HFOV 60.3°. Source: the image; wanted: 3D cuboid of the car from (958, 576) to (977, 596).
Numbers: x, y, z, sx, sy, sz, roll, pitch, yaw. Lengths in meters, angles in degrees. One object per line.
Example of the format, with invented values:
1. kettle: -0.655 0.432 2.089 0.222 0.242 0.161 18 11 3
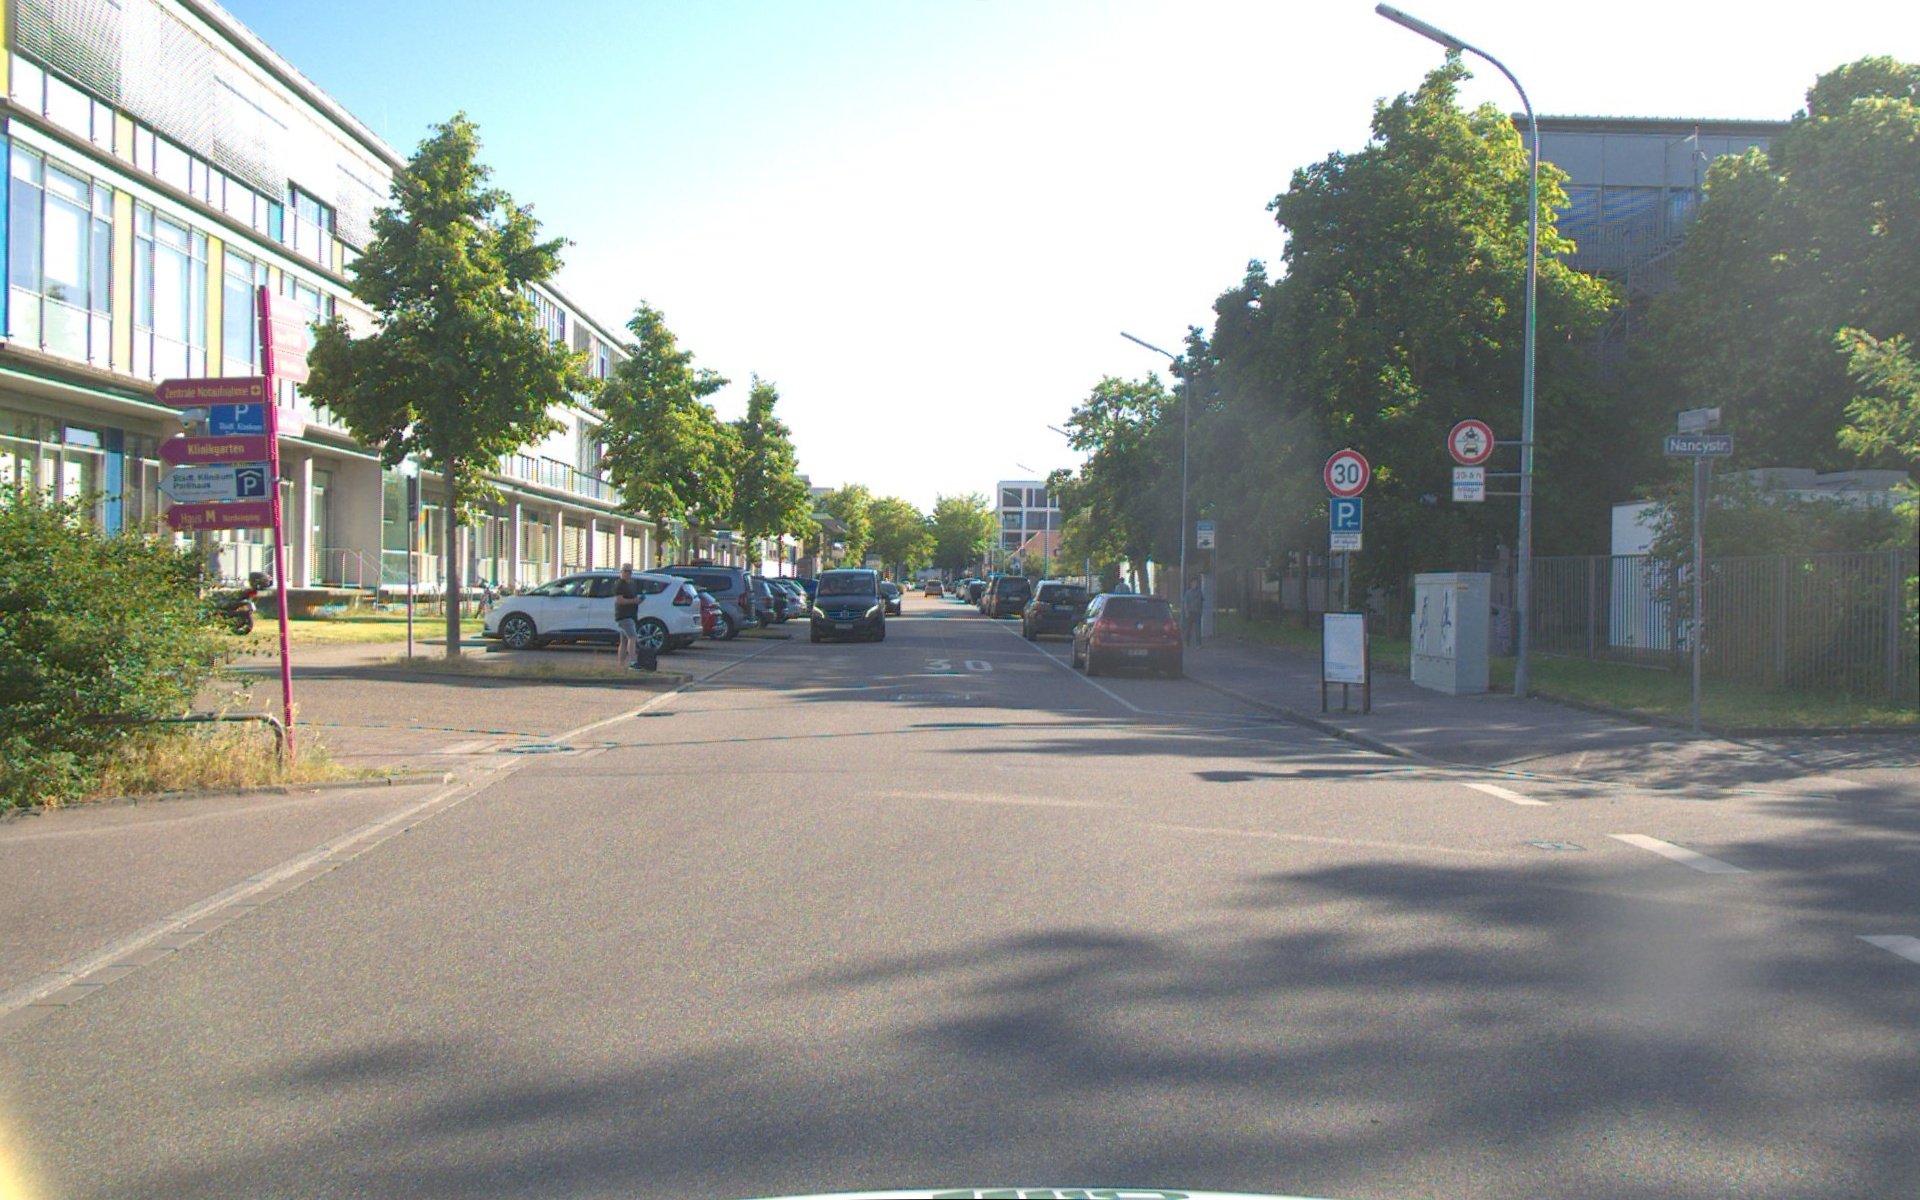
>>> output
1. car: 0.571 -1.138 133.137 1.407 1.588 3.041 1 1 -2

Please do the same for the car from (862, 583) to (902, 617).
1. car: -3.483 -0.005 74.321 1.669 1.476 4.085 -1 1 -1

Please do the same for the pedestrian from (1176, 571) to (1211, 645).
1. pedestrian: 5.755 0.185 40.833 0.703 1.788 0.884 -2 1 -1

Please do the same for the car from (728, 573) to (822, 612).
1. car: -8.424 -0.345 75.648 4.132 1.631 1.870 2 0 -5

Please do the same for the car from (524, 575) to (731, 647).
1. car: -7.528 0.243 37.740 4.344 1.527 1.827 1 0 -1

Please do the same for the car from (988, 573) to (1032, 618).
1. car: 2.158 -0.220 72.201 1.698 1.862 3.905 1 1 -1

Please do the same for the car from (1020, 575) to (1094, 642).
1. car: 2.728 0.193 47.254 1.775 1.695 4.592 2 1 0

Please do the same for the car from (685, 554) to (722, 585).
1. car: -17.699 -2.082 114.357 1.953 2.049 3.999 1 -1 -2

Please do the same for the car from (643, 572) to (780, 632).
1. car: -7.483 0.038 50.097 3.909 1.635 1.870 2 0 -5

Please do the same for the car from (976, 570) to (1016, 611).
1. car: 1.834 -0.503 84.681 1.837 2.013 3.999 0 1 -2

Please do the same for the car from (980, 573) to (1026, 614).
1. car: 2.016 -0.330 78.439 1.953 1.854 4.197 0 1 -2

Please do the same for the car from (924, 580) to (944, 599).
1. car: -2.257 -0.929 144.950 1.708 1.570 3.999 1 1 -1

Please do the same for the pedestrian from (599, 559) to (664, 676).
1. pedestrian: -5.460 0.280 27.530 0.840 1.874 0.825 2 0 0

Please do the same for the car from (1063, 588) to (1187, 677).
1. car: 3.032 0.543 31.221 1.685 1.480 4.650 2 1 -2

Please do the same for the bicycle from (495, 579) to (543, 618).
1. bicycle: -13.727 -0.057 51.546 0.873 1.131 1.890 2 1 2

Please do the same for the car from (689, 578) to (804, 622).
1. car: -7.546 -0.017 58.649 3.909 1.382 1.741 2 0 -5

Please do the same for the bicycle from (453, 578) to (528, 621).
1. bicycle: -13.536 -0.014 47.762 0.851 1.173 2.373 2 0 19

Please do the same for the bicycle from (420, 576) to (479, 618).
1. bicycle: -14.896 -0.082 48.310 0.850 1.173 1.994 2 0 8

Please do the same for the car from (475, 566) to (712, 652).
1. car: -7.646 0.180 34.814 4.516 1.680 1.868 1 0 2

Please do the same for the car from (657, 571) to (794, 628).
1. car: -7.475 -0.034 53.052 4.164 1.640 2.046 2 0 -5

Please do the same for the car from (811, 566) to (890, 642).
1. car: -2.906 0.069 44.768 1.915 1.900 5.253 1 1 -2

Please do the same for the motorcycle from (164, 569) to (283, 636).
1. motorcycle: -14.183 0.039 31.869 2.003 1.169 0.499 3 1 -4

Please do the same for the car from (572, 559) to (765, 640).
1. car: -7.549 -0.032 43.099 4.646 1.897 1.827 2 1 -1

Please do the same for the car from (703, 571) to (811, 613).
1. car: -8.037 -0.328 65.852 4.132 1.487 1.870 2 0 -5

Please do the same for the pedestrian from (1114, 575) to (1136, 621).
1. pedestrian: 6.180 -0.083 61.903 0.684 1.690 0.751 -2 1 -2
